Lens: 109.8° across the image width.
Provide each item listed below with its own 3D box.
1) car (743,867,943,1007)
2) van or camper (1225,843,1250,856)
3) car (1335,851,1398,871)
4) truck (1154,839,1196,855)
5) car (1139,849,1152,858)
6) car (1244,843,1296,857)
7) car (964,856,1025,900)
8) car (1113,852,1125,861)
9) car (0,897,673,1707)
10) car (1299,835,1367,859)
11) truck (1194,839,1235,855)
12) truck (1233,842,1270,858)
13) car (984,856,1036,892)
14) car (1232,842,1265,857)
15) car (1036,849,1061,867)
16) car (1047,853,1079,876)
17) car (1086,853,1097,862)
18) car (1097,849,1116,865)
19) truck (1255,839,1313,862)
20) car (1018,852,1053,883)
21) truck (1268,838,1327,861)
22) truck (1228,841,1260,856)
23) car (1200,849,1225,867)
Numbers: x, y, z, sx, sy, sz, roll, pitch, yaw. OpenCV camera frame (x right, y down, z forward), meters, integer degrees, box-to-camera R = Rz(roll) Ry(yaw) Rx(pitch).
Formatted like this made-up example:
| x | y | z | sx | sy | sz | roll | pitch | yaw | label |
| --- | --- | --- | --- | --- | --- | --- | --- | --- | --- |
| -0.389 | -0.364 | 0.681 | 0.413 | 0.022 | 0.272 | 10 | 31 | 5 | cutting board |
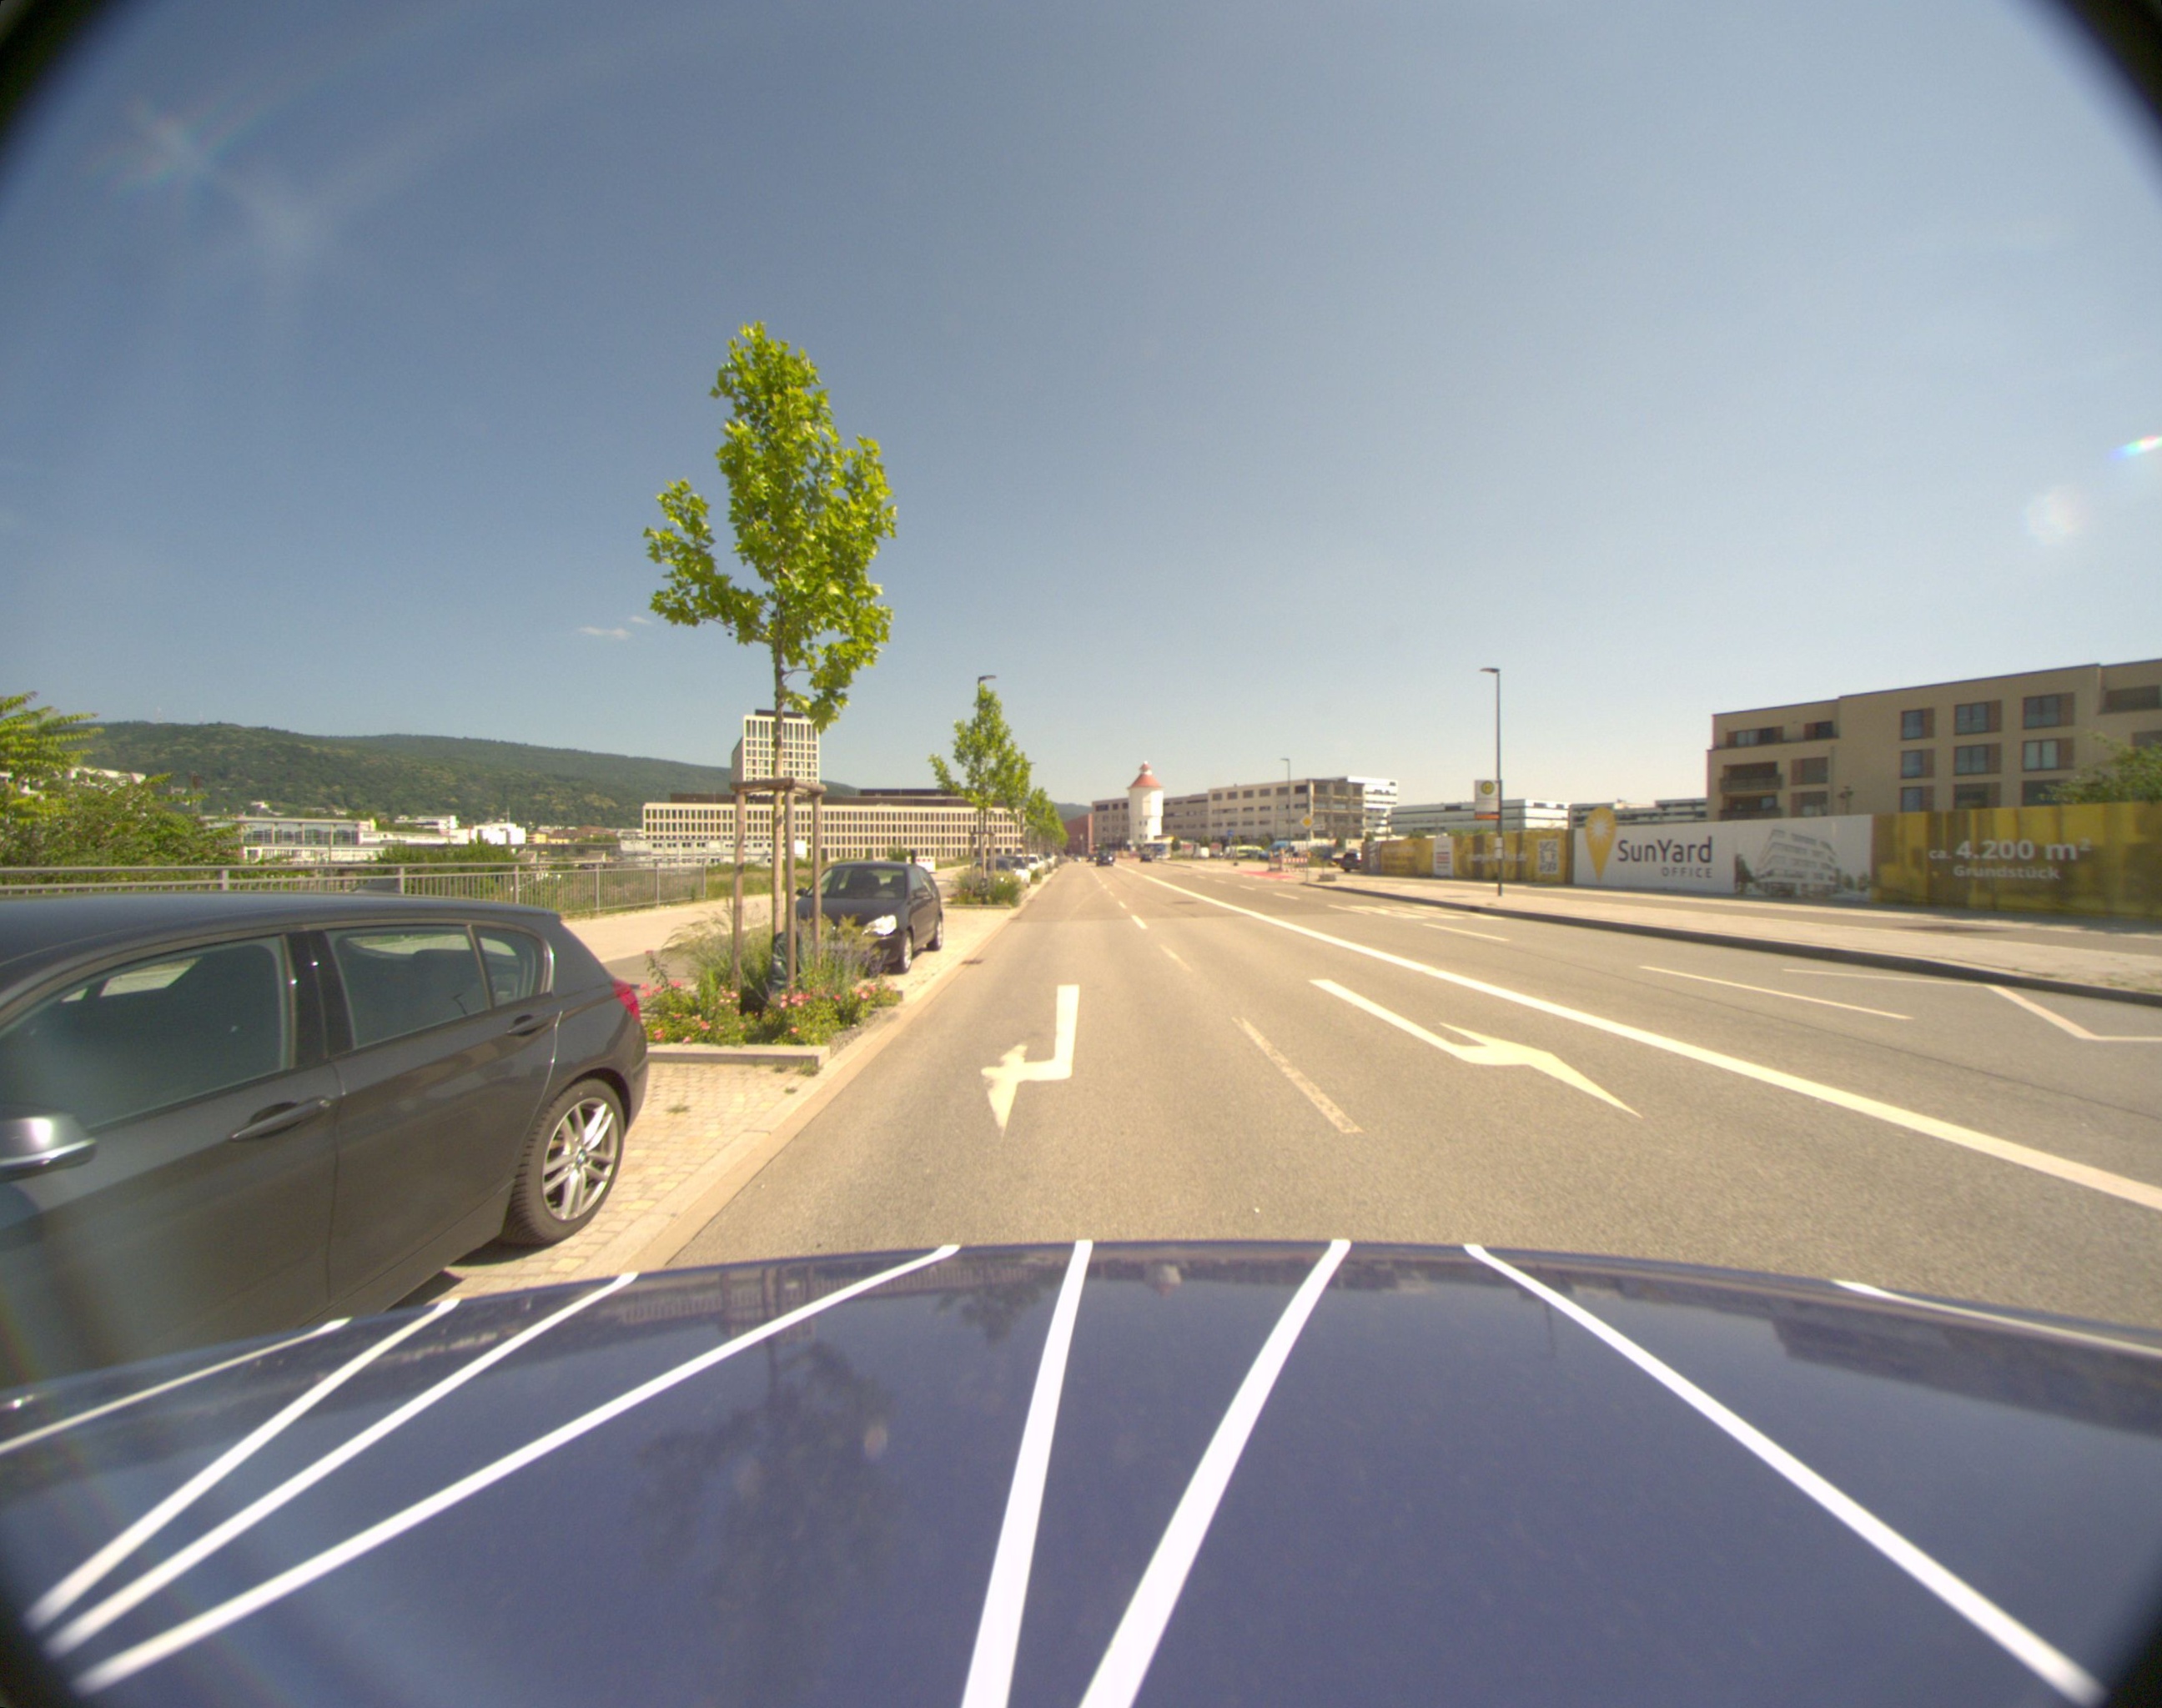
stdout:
| x | y | z | sx | sy | sz | roll | pitch | yaw | label |
| --- | --- | --- | --- | --- | --- | --- | --- | --- | --- |
| -3.118 | 1.001 | 10.776 | 1.709 | 1.454 | 3.952 | 1 | 1 | -2 | car |
| 33.571 | -1.041 | 163.196 | 4.912 | 2.646 | 2.259 | -2 | 0 | 0 | van or camper |
| 19.648 | 0.454 | 52.172 | 4.255 | 1.310 | 1.995 | 0 | 0 | -35 | car |
| 25.964 | -1.902 | 209.254 | 10.988 | 4.045 | 3.296 | -2 | 2 | -18 | truck |
| 10.081 | -0.037 | 118.622 | 1.708 | 1.344 | 4.455 | 0 | 1 | 0 | car |
| 22.528 | -0.444 | 90.844 | 5.666 | 1.465 | 2.106 | -1 | 0 | -3 | car |
| -3.109 | 0.832 | 27.957 | 1.708 | 1.454 | 3.954 | -2 | 0 | 0 | car |
| 6.765 | 0.426 | 134.604 | 1.917 | 1.640 | 4.732 | -2 | 0 | 4 | car |
| -2.910 | 0.960 | 1.626 | 1.708 | 1.393 | 4.269 | 1 | 1 | 1 | car |
| 23.268 | -0.610 | 70.258 | 5.458 | 2.160 | 2.394 | 0 | 0 | -4 | car |
| 37.284 | -1.991 | 212.218 | 10.952 | 4.251 | 3.340 | -2 | 2 | -12 | truck |
| 33.941 | -0.782 | 151.127 | 6.656 | 2.809 | 2.601 | -2 | 0 | -6 | truck |
| -3.076 | 0.833 | 33.700 | 1.708 | 1.454 | 4.085 | -2 | 0 | 2 | car |
| 21.336 | -0.582 | 96.785 | 3.994 | 1.893 | 1.828 | 0 | 0 | 7 | car |
| -2.943 | 0.362 | 69.614 | 1.913 | 1.568 | 4.158 | 0 | 1 | 3 | car |
| -1.183 | 0.706 | 51.953 | 1.913 | 1.470 | 4.158 | 0 | 1 | 3 | car |
| 1.890 | 0.627 | 132.103 | 1.783 | 1.552 | 3.832 | -2 | 0 | 1 | car |
| 2.589 | 0.302 | 78.307 | 1.783 | 1.552 | 3.831 | 0 | 1 | -1 | car |
| 23.159 | -0.414 | 86.853 | 6.019 | 2.528 | 2.275 | 0 | 1 | 0 | truck |
| -2.511 | 0.710 | 42.511 | 1.751 | 1.501 | 3.999 | -2 | 2 | -1 | car |
| 22.645 | -0.453 | 79.566 | 5.581 | 2.349 | 2.274 | 0 | 0 | -2 | truck |
| 34.064 | -1.180 | 159.096 | 6.160 | 2.885 | 2.570 | -2 | 2 | 1 | truck |
| 11.437 | 0.353 | 66.389 | 1.611 | 1.468 | 3.678 | 1 | 1 | 1 | car |
